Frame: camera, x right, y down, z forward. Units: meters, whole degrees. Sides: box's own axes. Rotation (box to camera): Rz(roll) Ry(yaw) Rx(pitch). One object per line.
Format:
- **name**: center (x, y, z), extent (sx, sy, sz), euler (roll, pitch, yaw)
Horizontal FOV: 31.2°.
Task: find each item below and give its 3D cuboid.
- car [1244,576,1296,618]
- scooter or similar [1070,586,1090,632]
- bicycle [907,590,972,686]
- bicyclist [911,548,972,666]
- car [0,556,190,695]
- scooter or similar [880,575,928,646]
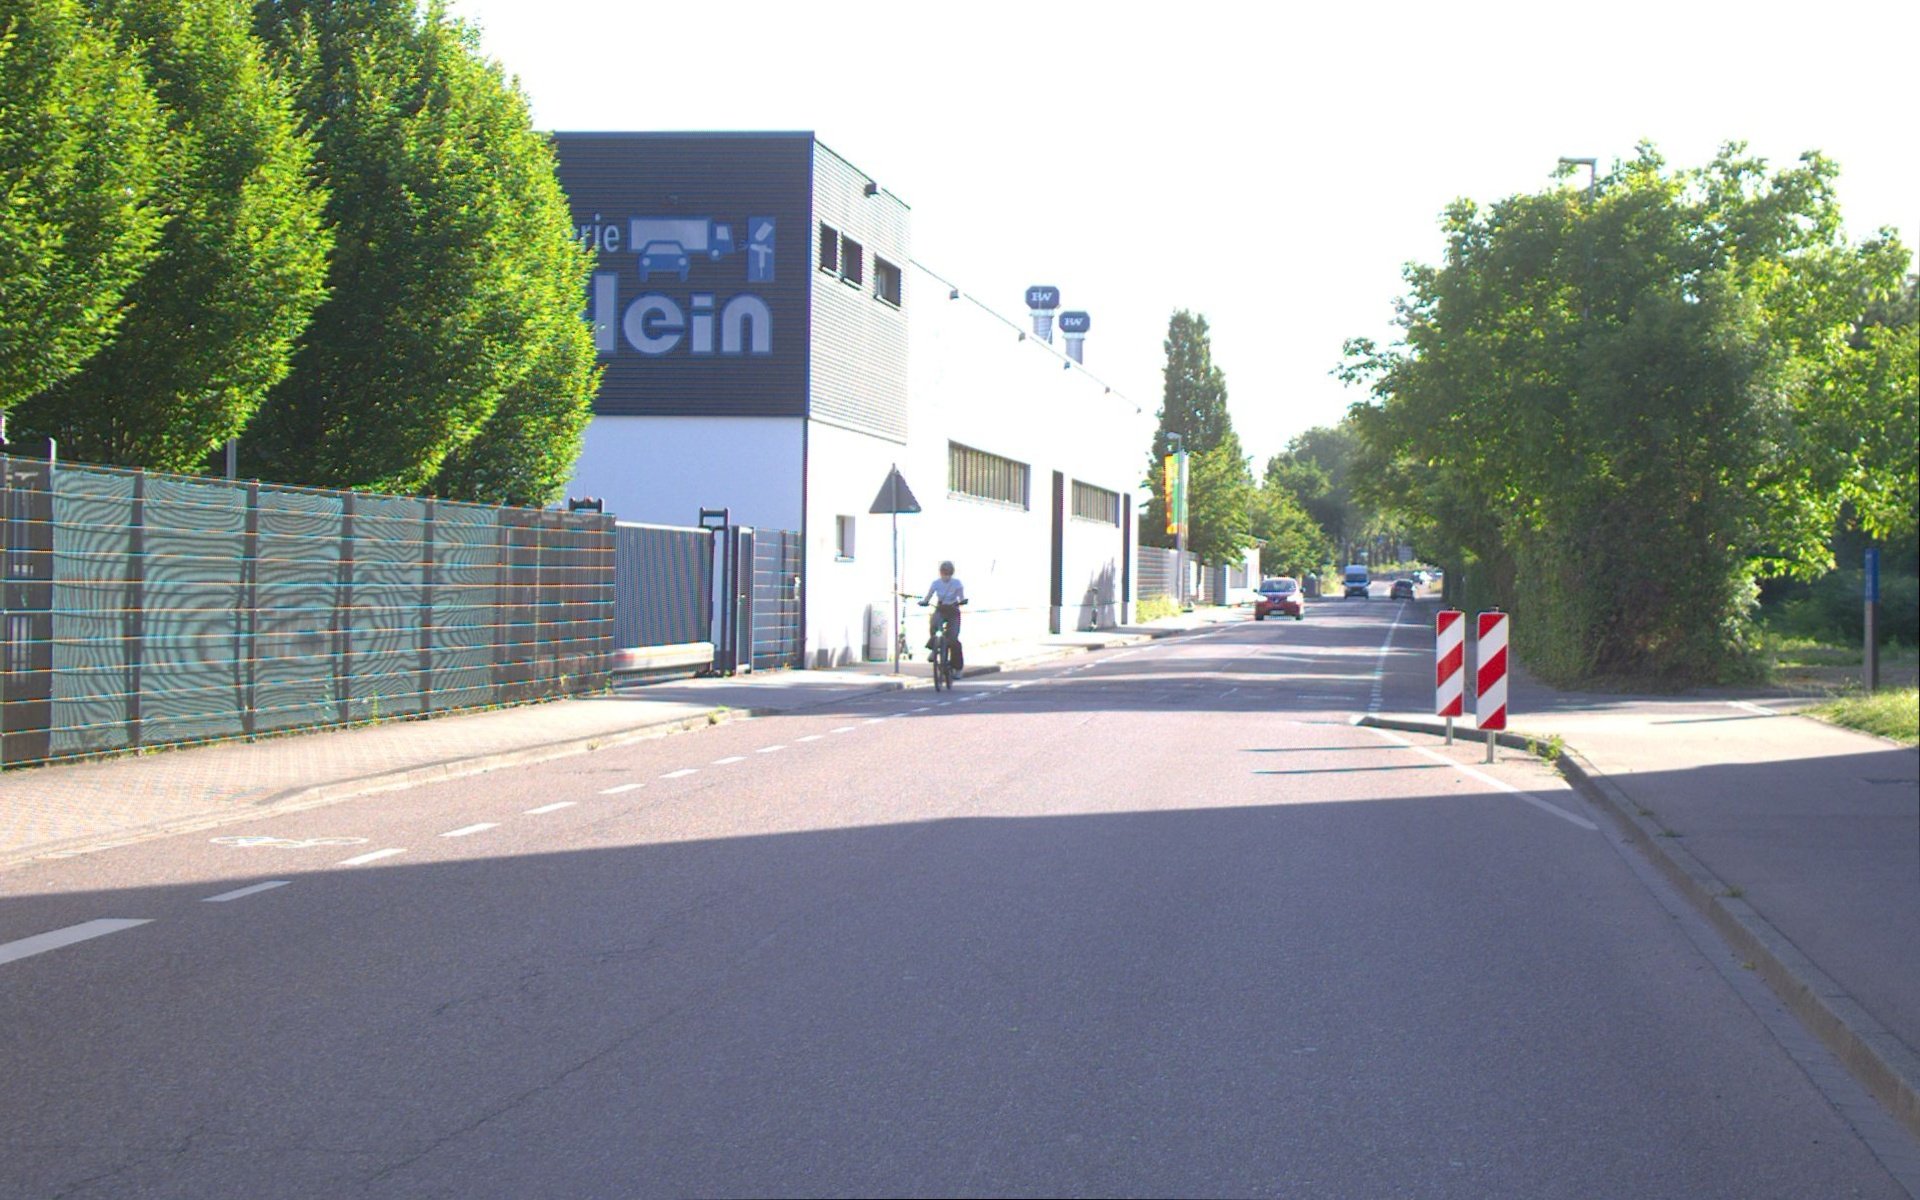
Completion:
- **car**: center (11.609, -0.115, 128.660), extent (1.818, 1.484, 3.999), euler (-3, 0, 6)
- **scooter or similar**: center (3.296, 0.245, 94.319), extent (0.416, 1.263, 1.059), euler (1, 1, 7)
- **bicycle**: center (-0.274, 0.512, 47.773), extent (0.667, 1.284, 2.172), euler (1, 0, 6)
- **bicyclist**: center (-0.257, 0.089, 47.767), extent (0.746, 1.622, 0.833), euler (1, 0, 6)
- **car**: center (-10.242, 0.248, 38.196), extent (1.994, 1.446, 3.999), euler (1, 0, 8)
- **scooter or similar**: center (-0.980, 0.180, 60.855), extent (0.507, 1.199, 1.753), euler (4, 1, 8)
